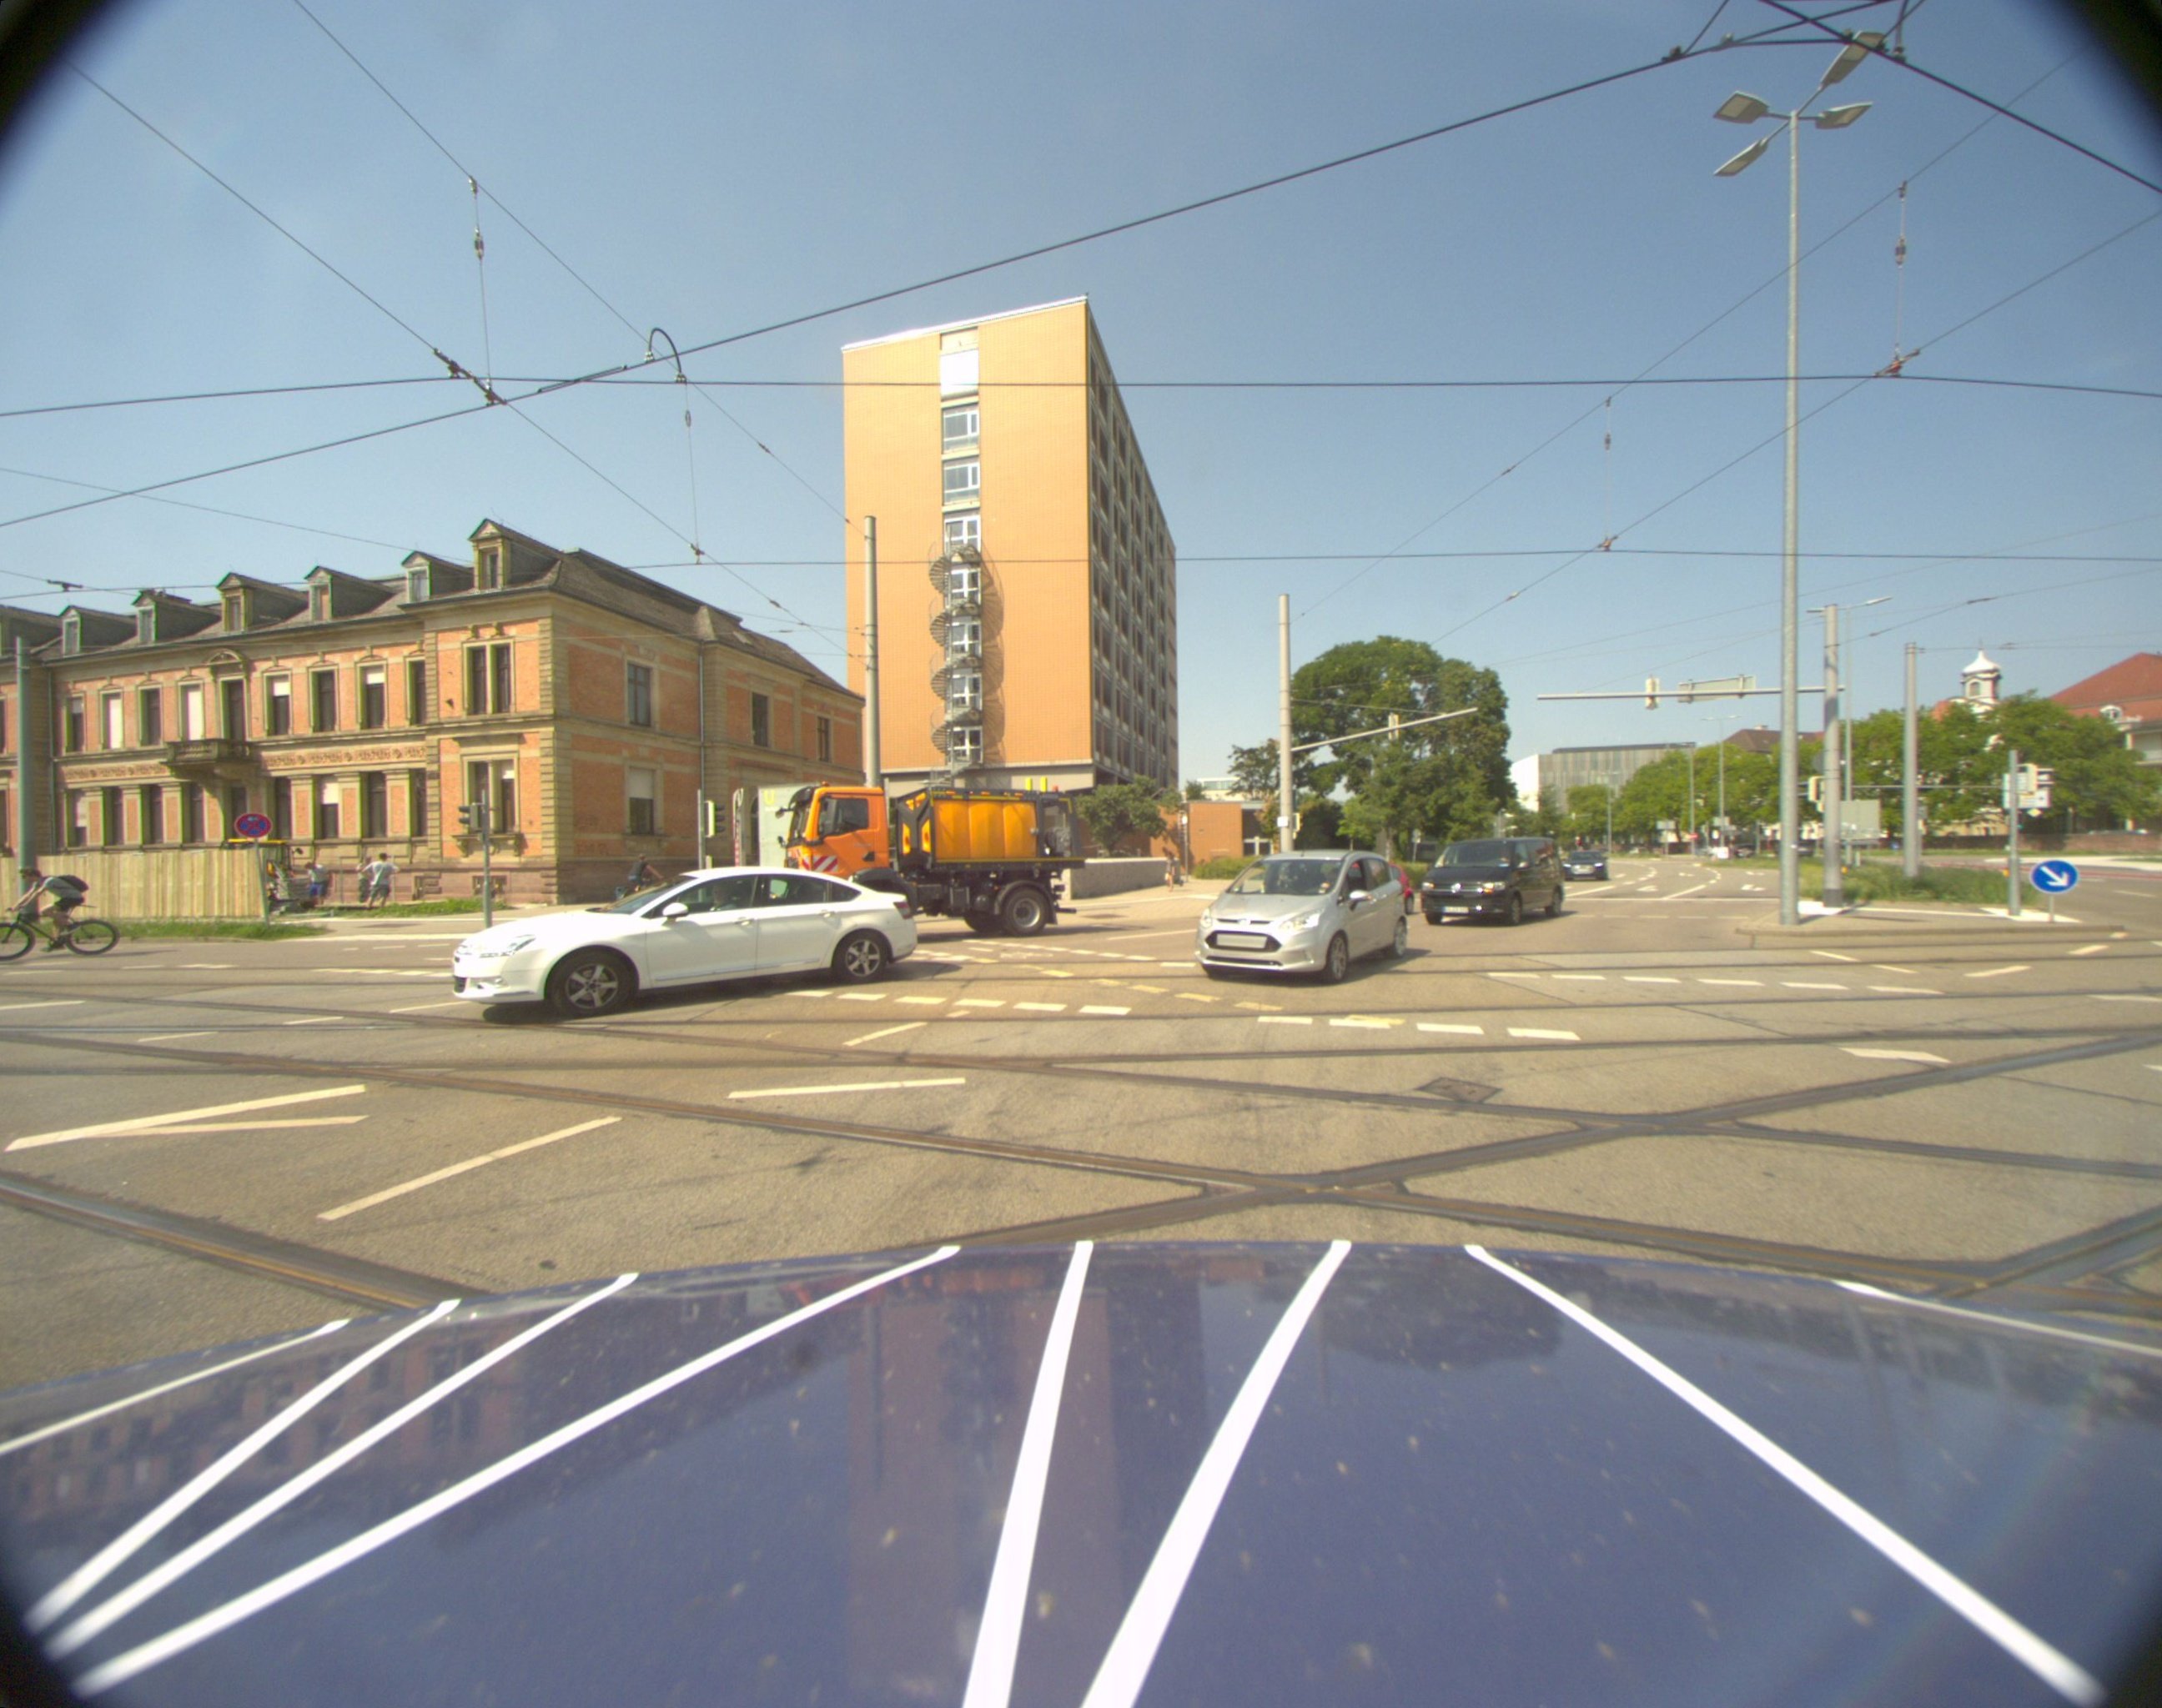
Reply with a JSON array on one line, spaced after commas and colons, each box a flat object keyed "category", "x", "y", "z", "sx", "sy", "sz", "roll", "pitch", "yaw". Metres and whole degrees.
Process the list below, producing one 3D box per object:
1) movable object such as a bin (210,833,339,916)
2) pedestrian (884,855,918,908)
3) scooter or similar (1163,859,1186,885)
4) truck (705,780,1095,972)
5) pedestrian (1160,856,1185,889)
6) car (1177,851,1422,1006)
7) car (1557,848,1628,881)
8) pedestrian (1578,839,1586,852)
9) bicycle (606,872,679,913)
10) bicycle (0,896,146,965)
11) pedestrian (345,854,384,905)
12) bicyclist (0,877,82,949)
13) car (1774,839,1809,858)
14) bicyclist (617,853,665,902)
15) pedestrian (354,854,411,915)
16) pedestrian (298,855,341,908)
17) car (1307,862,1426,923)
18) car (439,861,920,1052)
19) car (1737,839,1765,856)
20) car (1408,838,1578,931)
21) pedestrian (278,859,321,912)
[{"category": "movable object such as a bin", "x": -27.932, "y": 0.673, "z": 26.291, "sx": 4.444, "sy": 2.656, "sz": 1.821, "roll": -1, "pitch": 1, "yaw": 27}, {"category": "pedestrian", "x": -5.665, "y": 0.850, "z": 24.014, "sx": 0.950, "sy": 1.600, "sz": 0.792, "roll": -1, "pitch": 2, "yaw": -10}, {"category": "scooter or similar", "x": 4.351, "y": 0.822, "z": 35.259, "sx": 0.442, "sy": 1.150, "sz": 1.148, "roll": 0, "pitch": 1, "yaw": 42}, {"category": "truck", "x": -3.629, "y": 0.299, "z": 15.833, "sx": 7.202, "sy": 3.210, "sz": 3.035, "roll": -2, "pitch": 0, "yaw": -31}, {"category": "pedestrian", "x": 3.884, "y": 0.778, "z": 32.264, "sx": 0.785, "sy": 1.387, "sz": 0.850, "roll": 0, "pitch": 1, "yaw": 30}, {"category": "car", "x": 3.154, "y": 0.790, "z": 10.270, "sx": 1.688, "sy": 1.586, "sz": 4.370, "roll": 0, "pitch": 1, "yaw": 37}, {"category": "car", "x": 27.182, "y": 0.504, "z": 40.327, "sx": 4.709, "sy": 1.631, "sz": 1.994, "roll": -1, "pitch": 0, "yaw": -42}, {"category": "pedestrian", "x": 69.285, "y": -1.126, "z": 105.087, "sx": 0.966, "sy": 1.775, "sz": 1.119, "roll": 0, "pitch": 1, "yaw": 35}, {"category": "bicycle", "x": -13.129, "y": 1.128, "z": 22.836, "sx": 0.470, "sy": 1.120, "sz": 1.960, "roll": 0, "pitch": 1, "yaw": 25}, {"category": "bicycle", "x": -18.965, "y": 1.391, "z": 14.130, "sx": 0.711, "sy": 1.105, "sz": 1.859, "roll": 0, "pitch": 0, "yaw": 27}, {"category": "pedestrian", "x": -23.747, "y": 0.837, "z": 25.197, "sx": 0.686, "sy": 1.662, "sz": 0.683, "roll": -1, "pitch": 1, "yaw": -16}, {"category": "bicyclist", "x": -19.032, "y": 1.039, "z": 13.810, "sx": 1.099, "sy": 1.227, "sz": 0.866, "roll": -1, "pitch": 1, "yaw": 28}, {"category": "car", "x": 64.483, "y": -0.497, "z": 69.039, "sx": 1.897, "sy": 1.643, "sz": 4.666, "roll": -1, "pitch": 0, "yaw": 38}, {"category": "bicyclist", "x": -13.200, "y": 0.698, "z": 22.802, "sx": 0.801, "sy": 1.415, "sz": 0.932, "roll": 0, "pitch": 1, "yaw": 25}, {"category": "pedestrian", "x": -21.024, "y": 0.902, "z": 22.888, "sx": 1.040, "sy": 1.802, "sz": 0.683, "roll": -1, "pitch": 1, "yaw": -16}, {"category": "pedestrian", "x": -24.075, "y": 0.854, "z": 24.038, "sx": 0.686, "sy": 1.662, "sz": 0.683, "roll": -1, "pitch": 1, "yaw": -16}, {"category": "car", "x": 7.613, "y": 0.956, "z": 20.150, "sx": 3.365, "sy": 1.400, "sz": 1.513, "roll": -1, "pitch": 0, "yaw": -41}, {"category": "car", "x": -4.379, "y": 0.935, "z": 8.796, "sx": 4.612, "sy": 1.608, "sz": 1.767, "roll": 0, "pitch": -2, "yaw": -41}, {"category": "car", "x": 63.129, "y": -0.591, "z": 71.624, "sx": 1.675, "sy": 1.511, "sz": 3.713, "roll": -1, "pitch": 0, "yaw": 38}, {"category": "car", "x": 9.784, "y": 0.608, "z": 17.876, "sx": 4.895, "sy": 1.919, "sz": 1.895, "roll": -1, "pitch": 0, "yaw": -41}, {"category": "pedestrian", "x": -25.488, "y": 1.016, "z": 24.795, "sx": 0.686, "sy": 1.662, "sz": 0.683, "roll": -1, "pitch": 1, "yaw": -16}]
